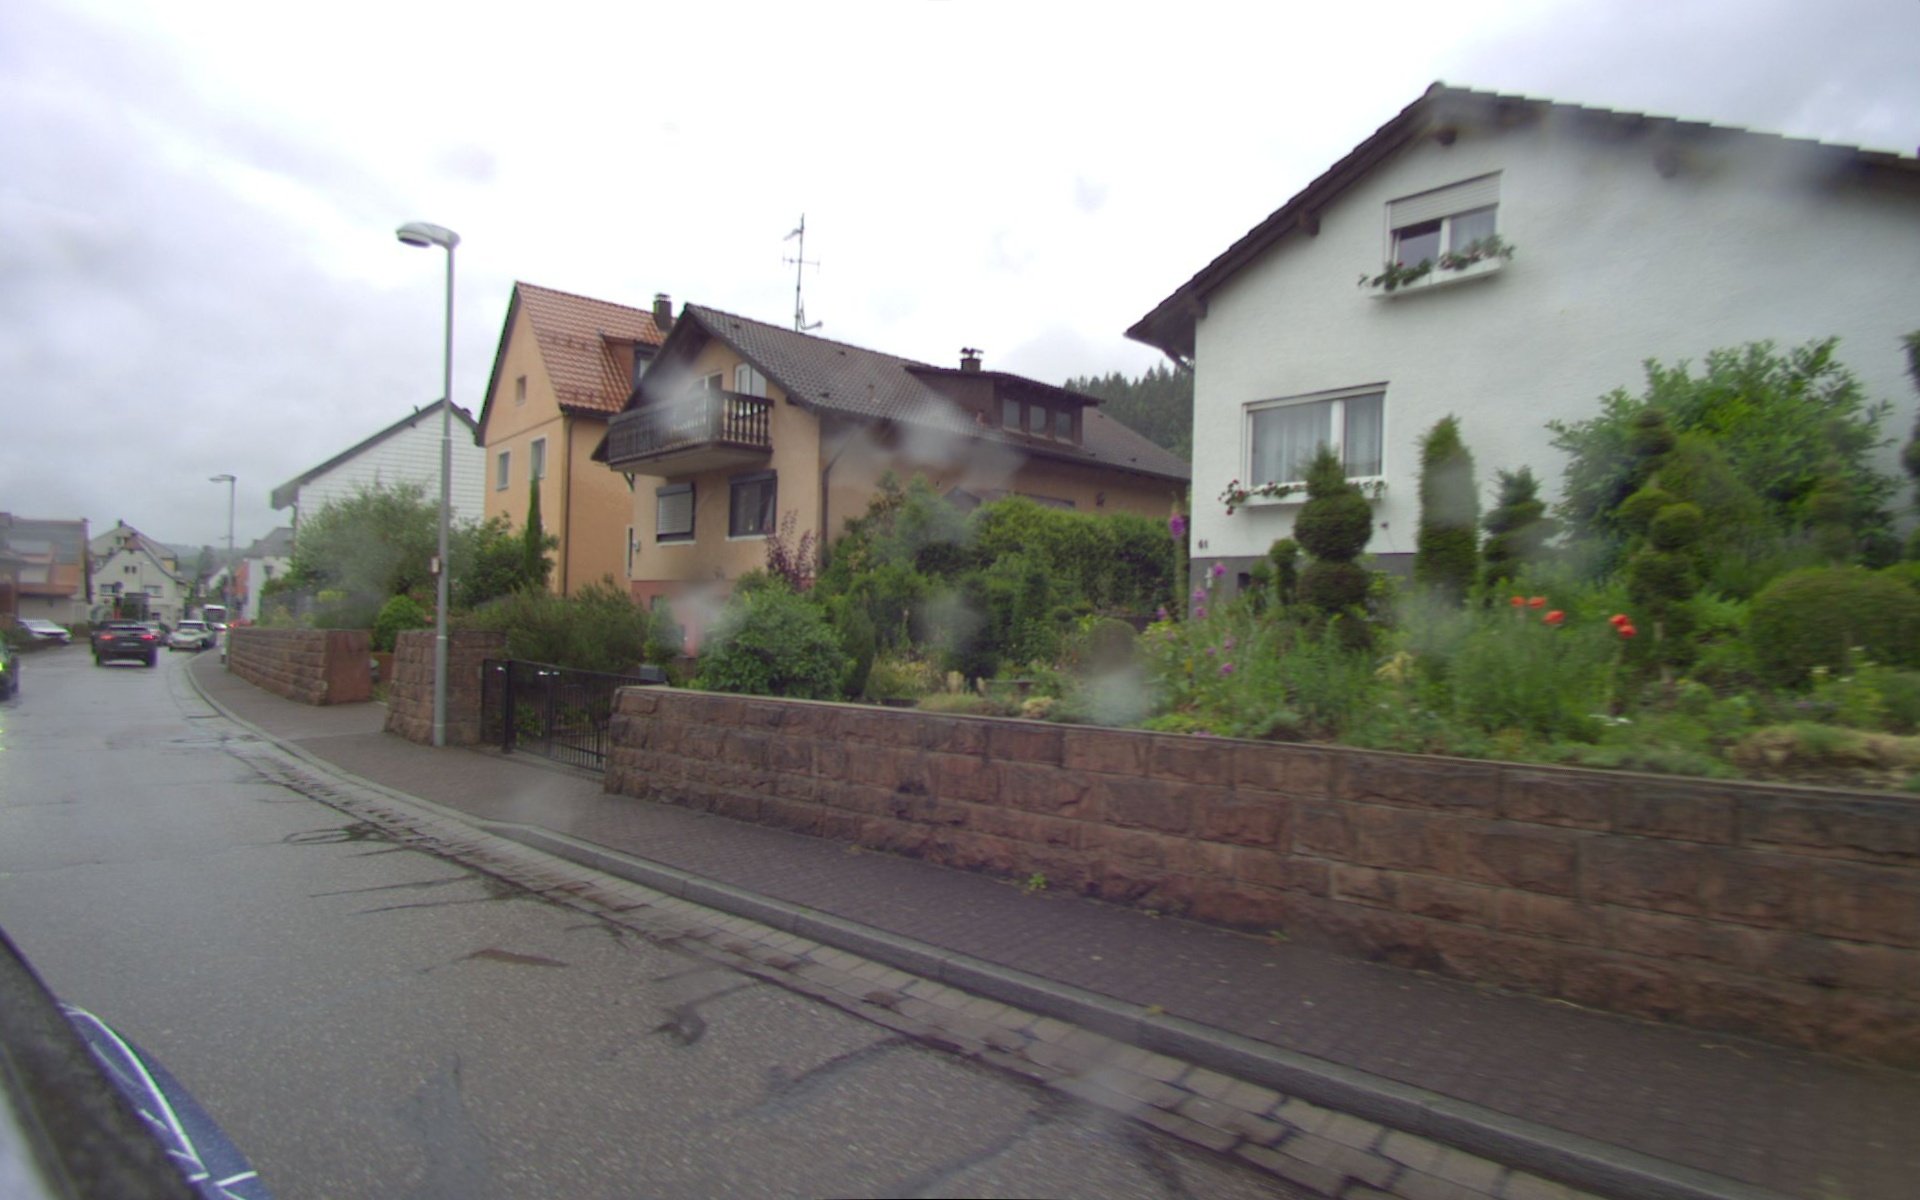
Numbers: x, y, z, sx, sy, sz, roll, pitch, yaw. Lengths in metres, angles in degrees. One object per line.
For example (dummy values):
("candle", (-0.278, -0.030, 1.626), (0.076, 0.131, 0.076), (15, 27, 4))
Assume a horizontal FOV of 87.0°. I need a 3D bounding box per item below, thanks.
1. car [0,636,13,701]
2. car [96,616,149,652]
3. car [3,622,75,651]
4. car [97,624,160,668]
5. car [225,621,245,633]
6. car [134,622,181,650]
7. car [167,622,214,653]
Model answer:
("car", (-20.609, 1.408, 20.656), (1.642, 1.308, 3.524), (0, -2, -39))
("car", (-42.368, 1.716, 51.282), (1.810, 1.686, 5.208), (4, -3, -37))
("car", (-54.689, 2.150, 60.098), (3.869, 1.587, 1.875), (-1, 0, 26))
("car", (-31.878, 1.760, 38.818), (1.678, 1.558, 3.857), (5, -5, -39))
("car", (-95.450, 3.532, 133.282), (1.830, 1.517, 4.173), (4, -3, -34))
("car", (-50.123, 2.221, 63.285), (1.786, 1.608, 4.195), (3, -3, -32))
("car", (-45.803, 2.233, 60.279), (1.786, 1.697, 4.195), (3, -3, -32))
